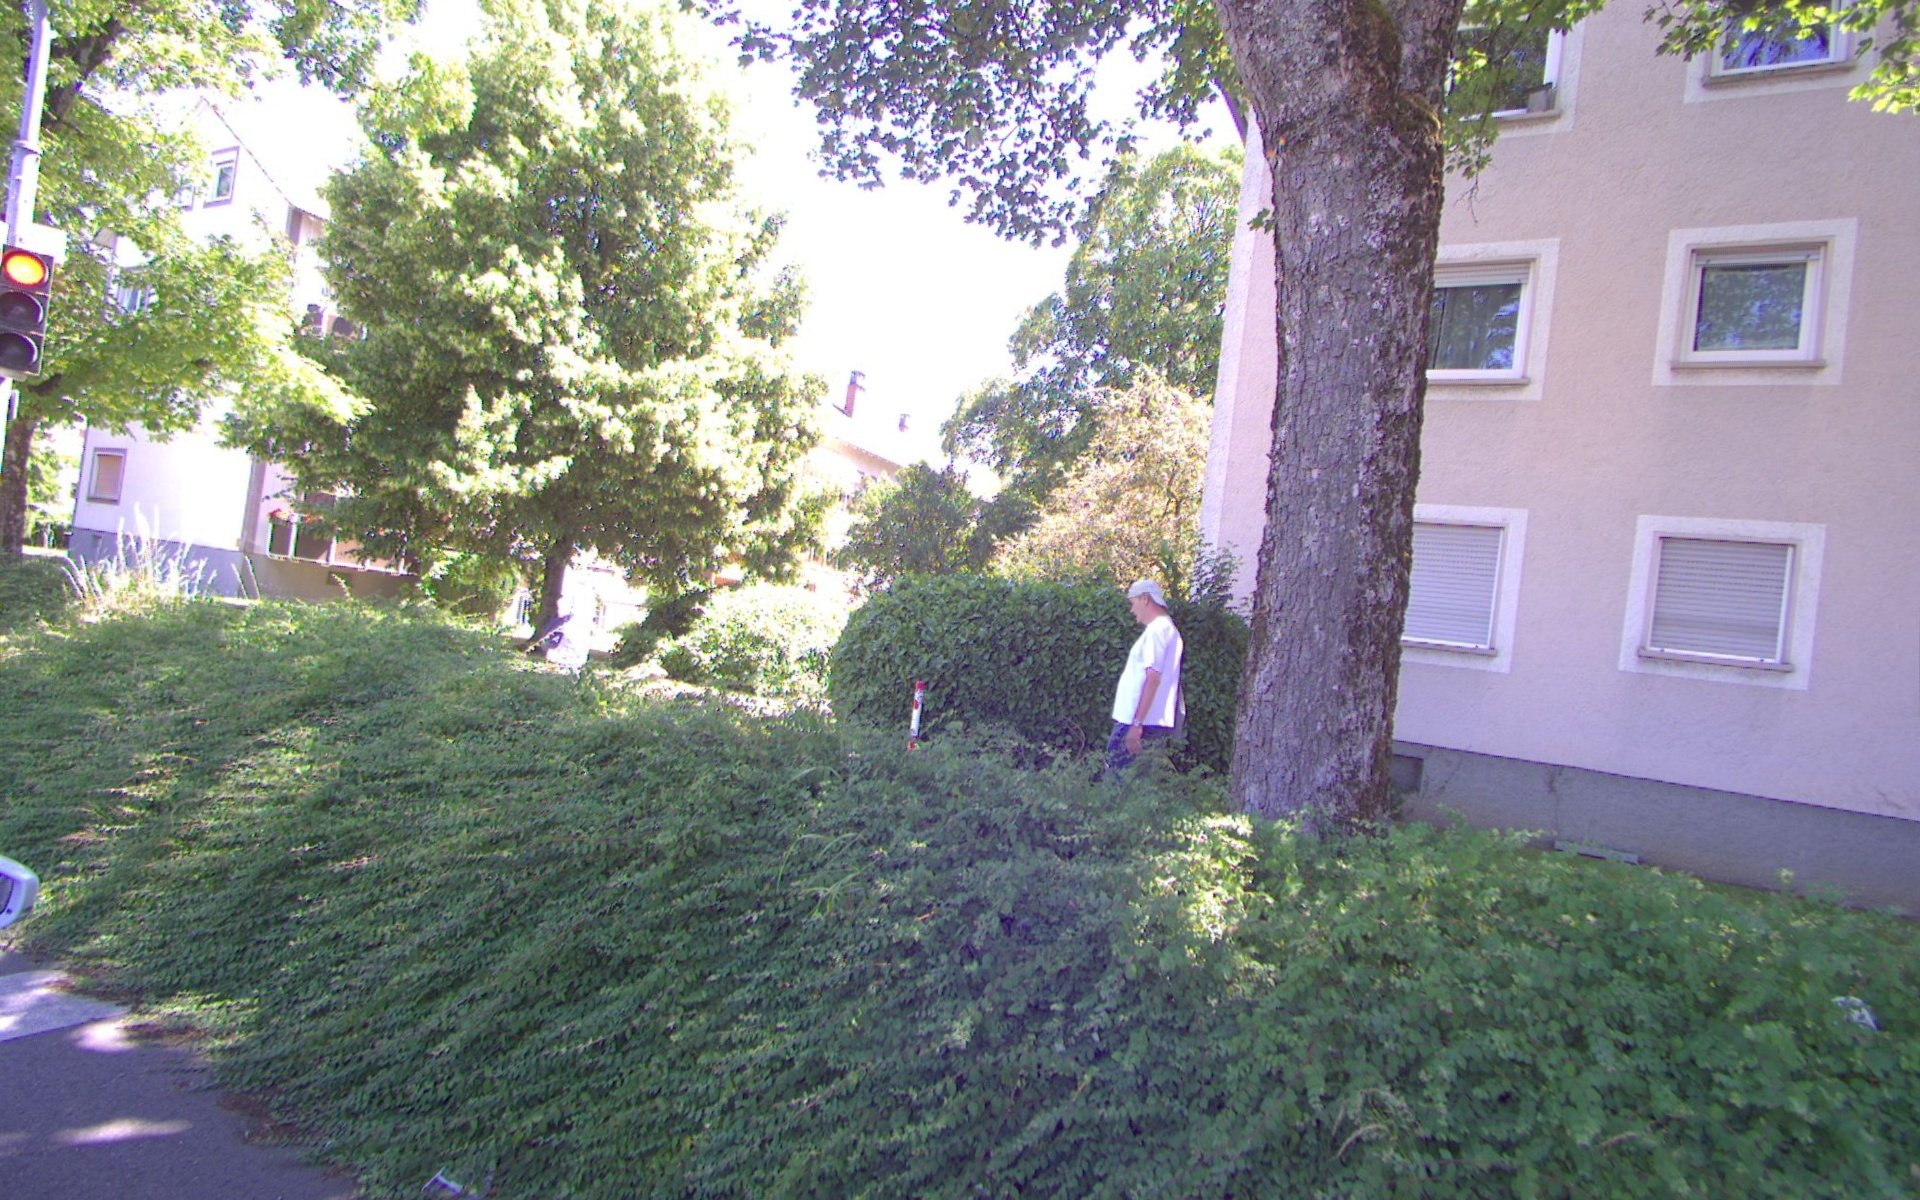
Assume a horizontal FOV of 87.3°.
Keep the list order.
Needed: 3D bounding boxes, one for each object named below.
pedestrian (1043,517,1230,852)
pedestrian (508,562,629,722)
[{"bbox_3d":[1.110,0.513,6.346,0.886,1.894,0.675,7,-2,11],"label":"pedestrian"},{"bbox_3d":[-4.397,0.470,11.319,0.836,1.653,0.720,7,0,23],"label":"pedestrian"}]
